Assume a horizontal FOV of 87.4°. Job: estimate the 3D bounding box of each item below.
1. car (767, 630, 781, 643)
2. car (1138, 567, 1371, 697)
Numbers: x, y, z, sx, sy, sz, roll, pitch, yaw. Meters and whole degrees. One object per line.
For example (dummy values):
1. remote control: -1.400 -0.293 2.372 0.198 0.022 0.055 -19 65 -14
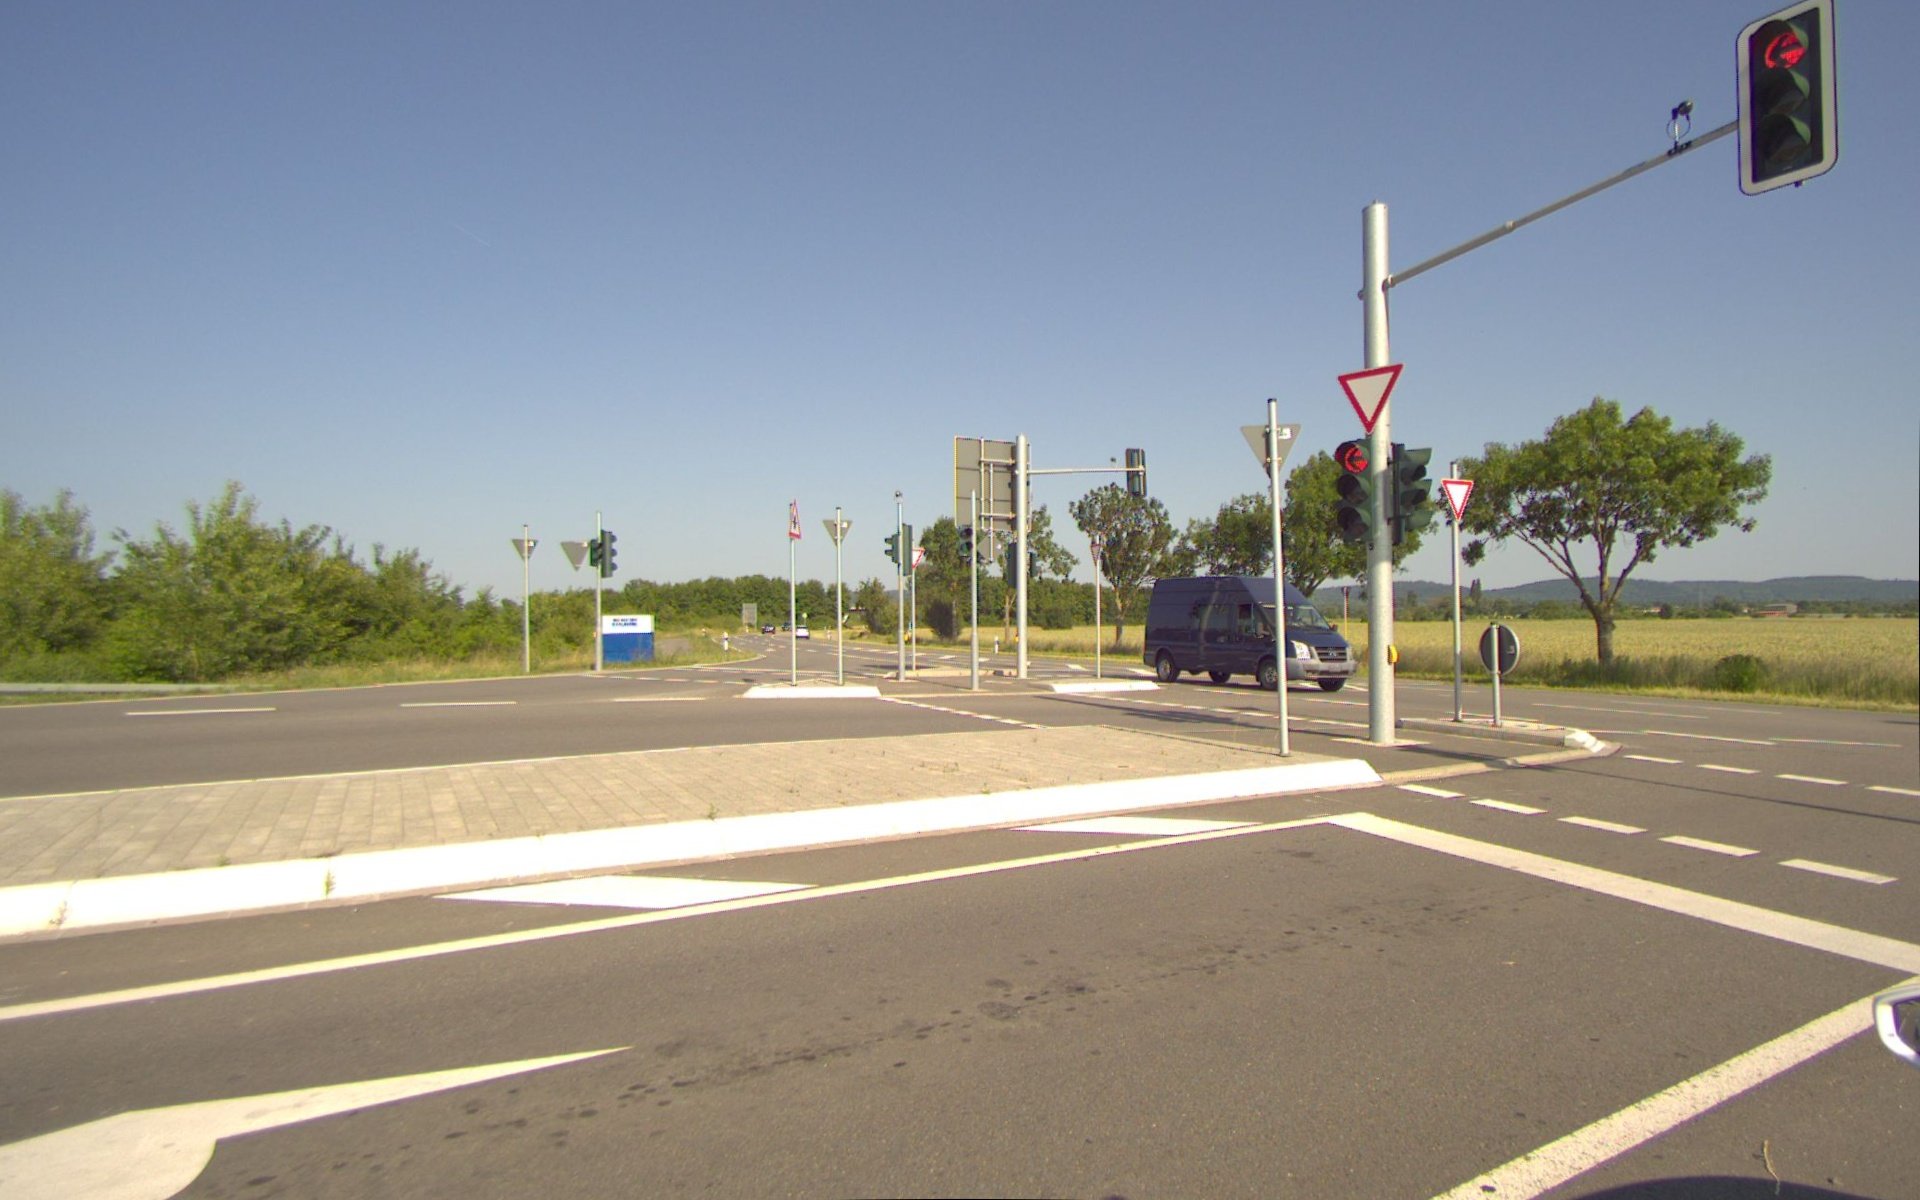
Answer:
1. car: -27.995 5.493 151.135 1.965 1.746 4.609 2 0 -11
2. car: 6.662 0.709 23.552 2.006 2.657 5.715 0 -1 -25
